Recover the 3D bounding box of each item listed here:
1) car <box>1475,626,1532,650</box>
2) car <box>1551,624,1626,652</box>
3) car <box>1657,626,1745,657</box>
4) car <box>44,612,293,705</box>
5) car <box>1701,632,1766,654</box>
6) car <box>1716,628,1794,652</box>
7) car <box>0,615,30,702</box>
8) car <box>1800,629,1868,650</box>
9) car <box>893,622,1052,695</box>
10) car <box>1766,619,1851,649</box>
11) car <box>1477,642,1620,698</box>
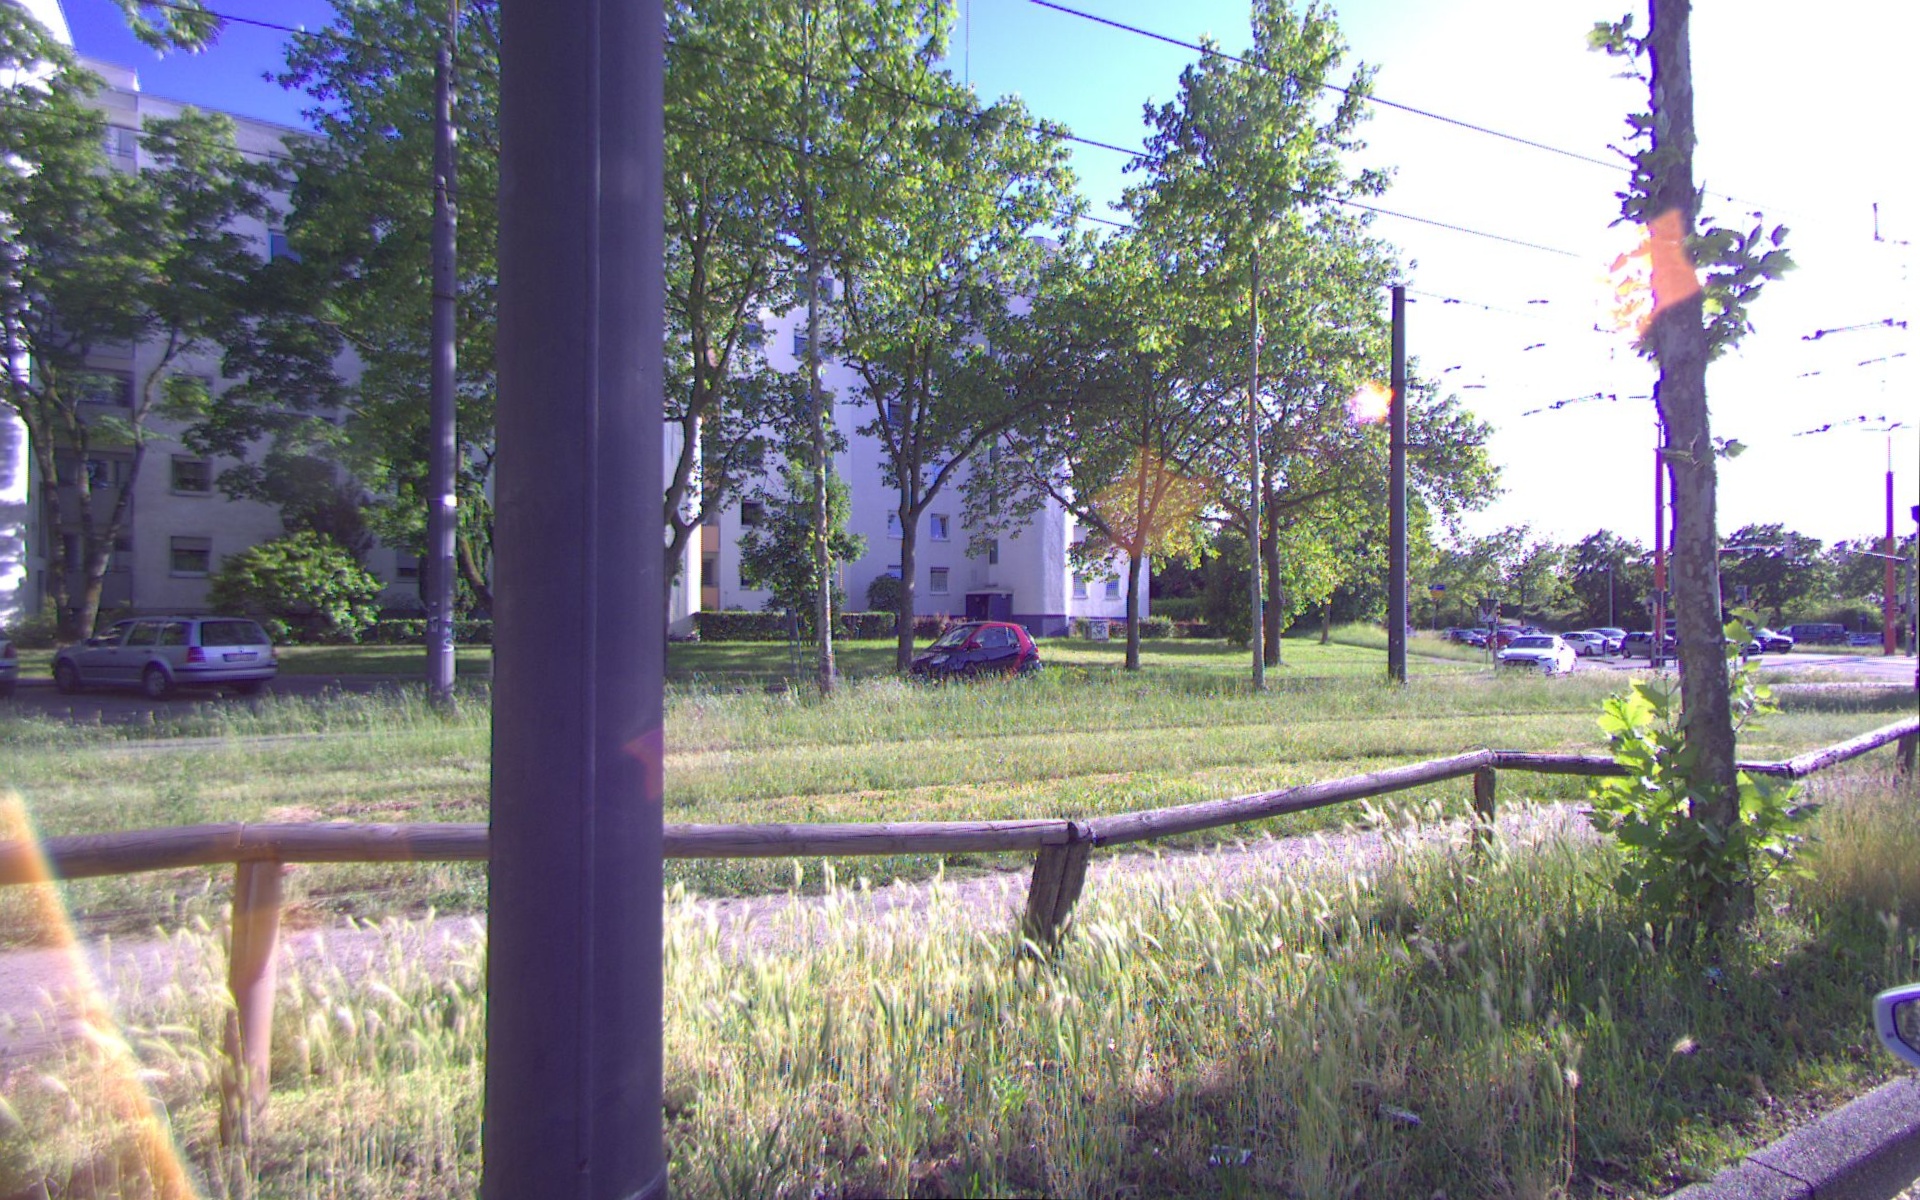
[{"bbox_3d":[38.431,2.668,71.095,1.699,1.533,3.998,1,-1,-4],"label":"car"},{"bbox_3d":[38.993,2.357,62.426,1.833,1.633,4.185,1,-1,-4],"label":"car"},{"bbox_3d":[42.567,2.344,57.814,1.962,1.666,3.997,1,-1,-5],"label":"car"},{"bbox_3d":[-14.545,1.013,18.491,3.898,1.462,1.710,1,0,18],"label":"car"},{"bbox_3d":[45.906,2.520,59.684,1.499,1.214,3.171,1,-1,2],"label":"car"},{"bbox_3d":[48.793,2.427,61.740,1.664,1.347,4.001,1,-1,2],"label":"car"},{"bbox_3d":[-17.951,0.965,17.113,3.547,1.439,1.576,1,0,18],"label":"car"},{"bbox_3d":[63.683,2.862,73.261,1.570,1.493,3.746,1,-1,-3],"label":"car"},{"bbox_3d":[0.263,1.176,20.995,2.816,1.409,1.790,1,-1,-30],"label":"car"},{"bbox_3d":[59.981,2.355,71.101,1.962,2.040,4.582,1,-1,-5],"label":"car"},{"bbox_3d":[20.251,2.354,34.534,4.783,1.754,1.986,1,-1,-27],"label":"car"}]
